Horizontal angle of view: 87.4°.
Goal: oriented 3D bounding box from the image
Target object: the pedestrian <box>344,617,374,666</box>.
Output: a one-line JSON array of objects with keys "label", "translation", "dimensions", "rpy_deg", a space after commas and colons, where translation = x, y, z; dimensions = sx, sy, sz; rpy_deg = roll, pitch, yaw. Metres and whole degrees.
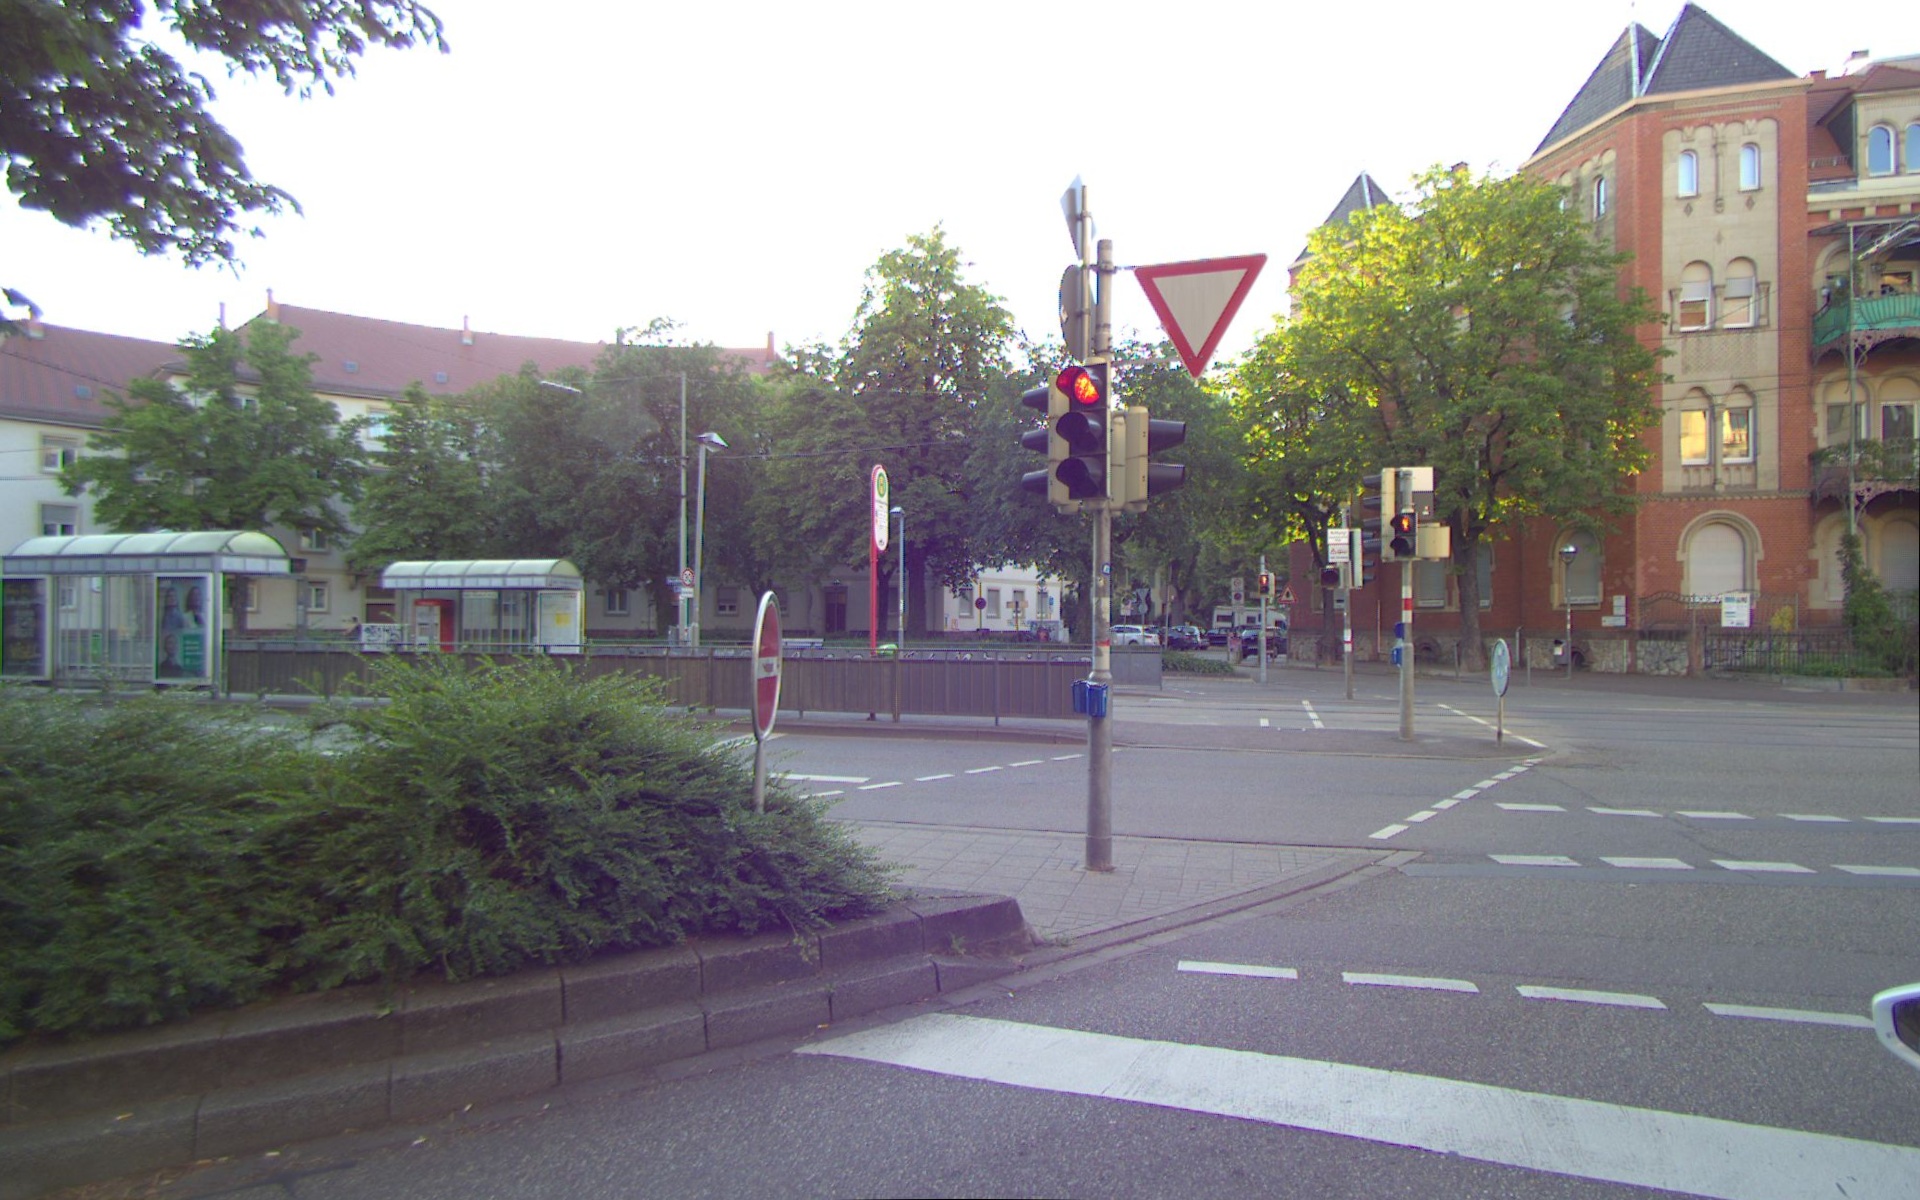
[{"label": "pedestrian", "translation": [-26.469, 1.835, 44.245], "dimensions": [1.047, 2.113, 1.006], "rpy_deg": [1, -1, -29]}]

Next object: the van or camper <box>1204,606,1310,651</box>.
[{"label": "van or camper", "translation": [22.540, 2.139, 76.491], "dimensions": [7.265, 3.124, 2.666], "rpy_deg": [1, -1, 34]}]

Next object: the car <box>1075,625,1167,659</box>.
[{"label": "car", "translation": [9.278, 2.388, 58.092], "dimensions": [4.883, 1.726, 1.994], "rpy_deg": [1, -1, 34]}]

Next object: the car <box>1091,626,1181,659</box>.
[{"label": "car", "translation": [10.498, 2.494, 59.961], "dimensions": [4.883, 1.726, 1.994], "rpy_deg": [1, -1, 34]}]

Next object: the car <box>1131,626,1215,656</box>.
[{"label": "car", "translation": [13.617, 2.591, 64.333], "dimensions": [4.883, 1.726, 1.994], "rpy_deg": [1, -1, 34]}]

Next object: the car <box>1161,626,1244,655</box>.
[{"label": "car", "translation": [15.963, 2.618, 66.225], "dimensions": [4.883, 1.726, 1.994], "rpy_deg": [1, -1, 34]}]

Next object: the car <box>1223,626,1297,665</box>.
[{"label": "car", "translation": [14.608, 2.185, 48.762], "dimensions": [1.968, 1.726, 4.703], "rpy_deg": [1, -1, 36]}]

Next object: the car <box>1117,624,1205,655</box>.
[{"label": "car", "translation": [12.288, 2.377, 61.561], "dimensions": [4.883, 1.726, 1.994], "rpy_deg": [1, -1, 34]}]
